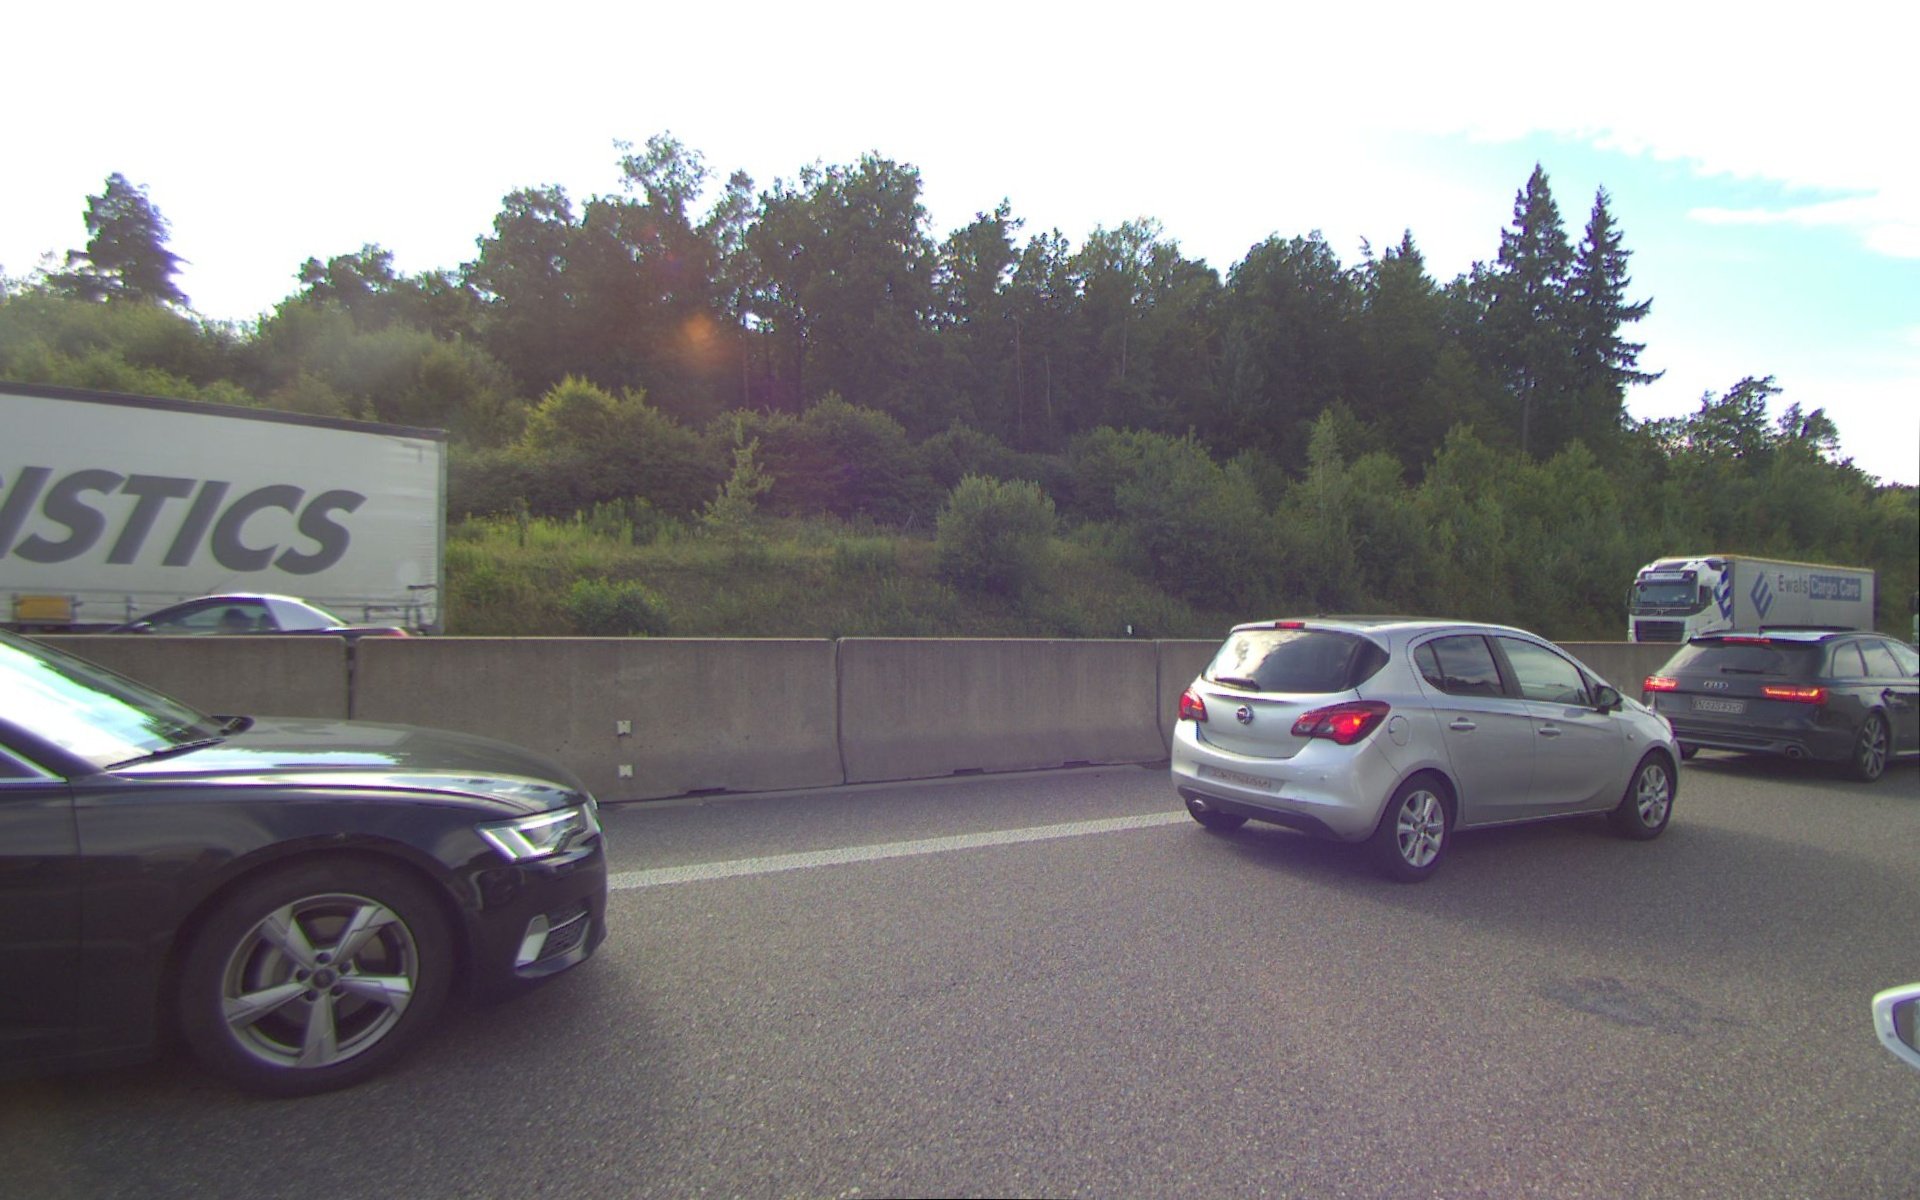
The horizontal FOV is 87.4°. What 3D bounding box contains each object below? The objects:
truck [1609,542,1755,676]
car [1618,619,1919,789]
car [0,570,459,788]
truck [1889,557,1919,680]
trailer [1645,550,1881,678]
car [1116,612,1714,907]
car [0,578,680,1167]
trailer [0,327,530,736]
[{"bbox_3d":[28.342,0.400,39.444,4.710,4.923,2.917,2,0,-30],"label":"truck"},{"bbox_3d":[9.444,1.002,10.973,4.691,1.475,1.834,1,0,-30],"label":"car"},{"bbox_3d":[-7.404,0.687,9.924,4.273,1.834,1.843,1,0,-30],"label":"car"},{"bbox_3d":[43.865,0.891,43.704,7.058,5.169,3.073,2,0,-30],"label":"truck"},{"bbox_3d":[34.928,0.748,43.337,14.483,4.894,2.912,2,0,-31],"label":"trailer"},{"bbox_3d":[3.185,0.856,6.860,3.993,1.485,1.739,1,-1,-30],"label":"car"},{"bbox_3d":[-3.486,0.666,3.022,4.792,1.491,1.874,2,0,-29],"label":"car"},{"bbox_3d":[-13.729,-0.928,14.246,13.674,5.351,3.027,2,0,-31],"label":"trailer"}]
